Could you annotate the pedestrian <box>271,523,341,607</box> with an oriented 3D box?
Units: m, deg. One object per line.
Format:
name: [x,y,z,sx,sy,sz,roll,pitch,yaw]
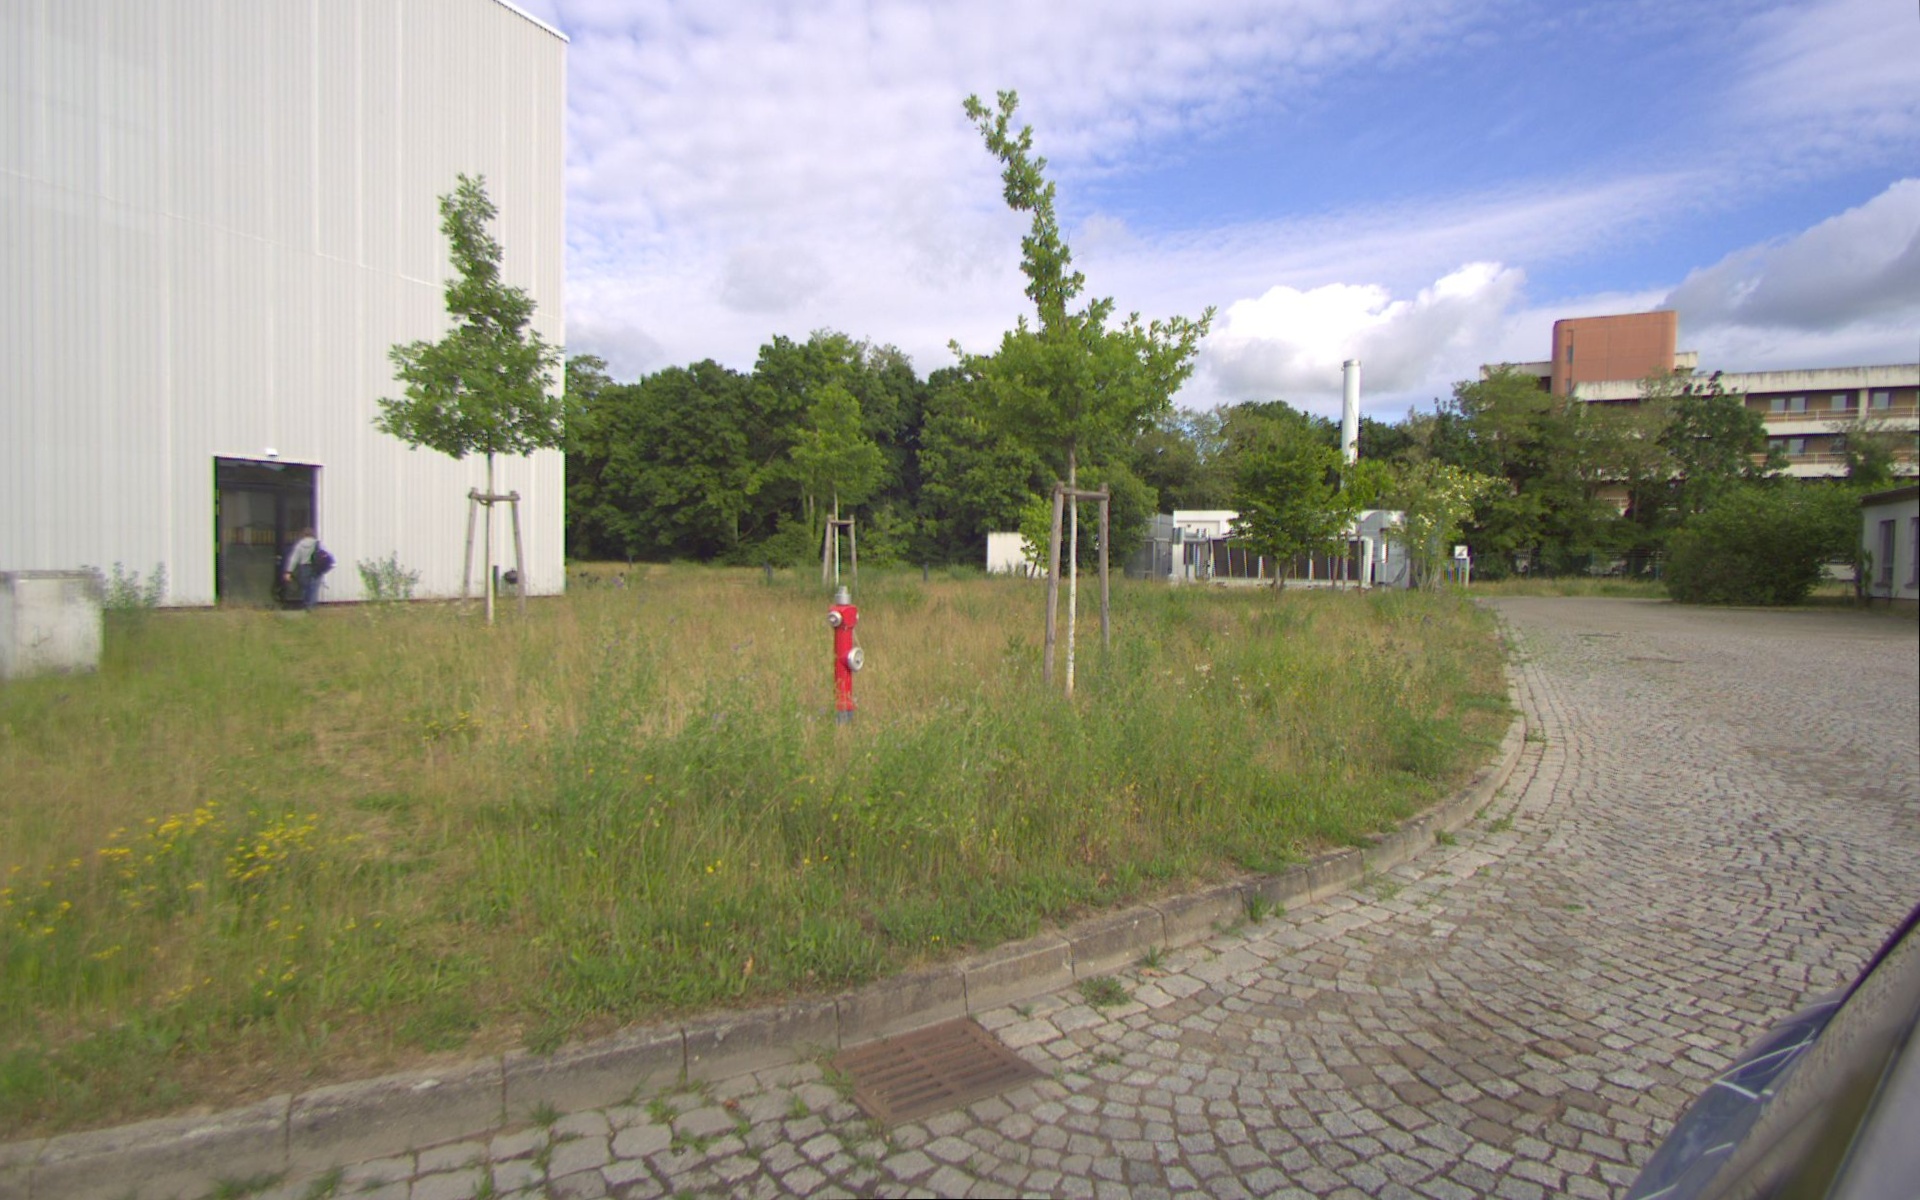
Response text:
pedestrian: [-12.724,-0.688,19.676,1.055,1.575,1.078,-1,3,-37]
